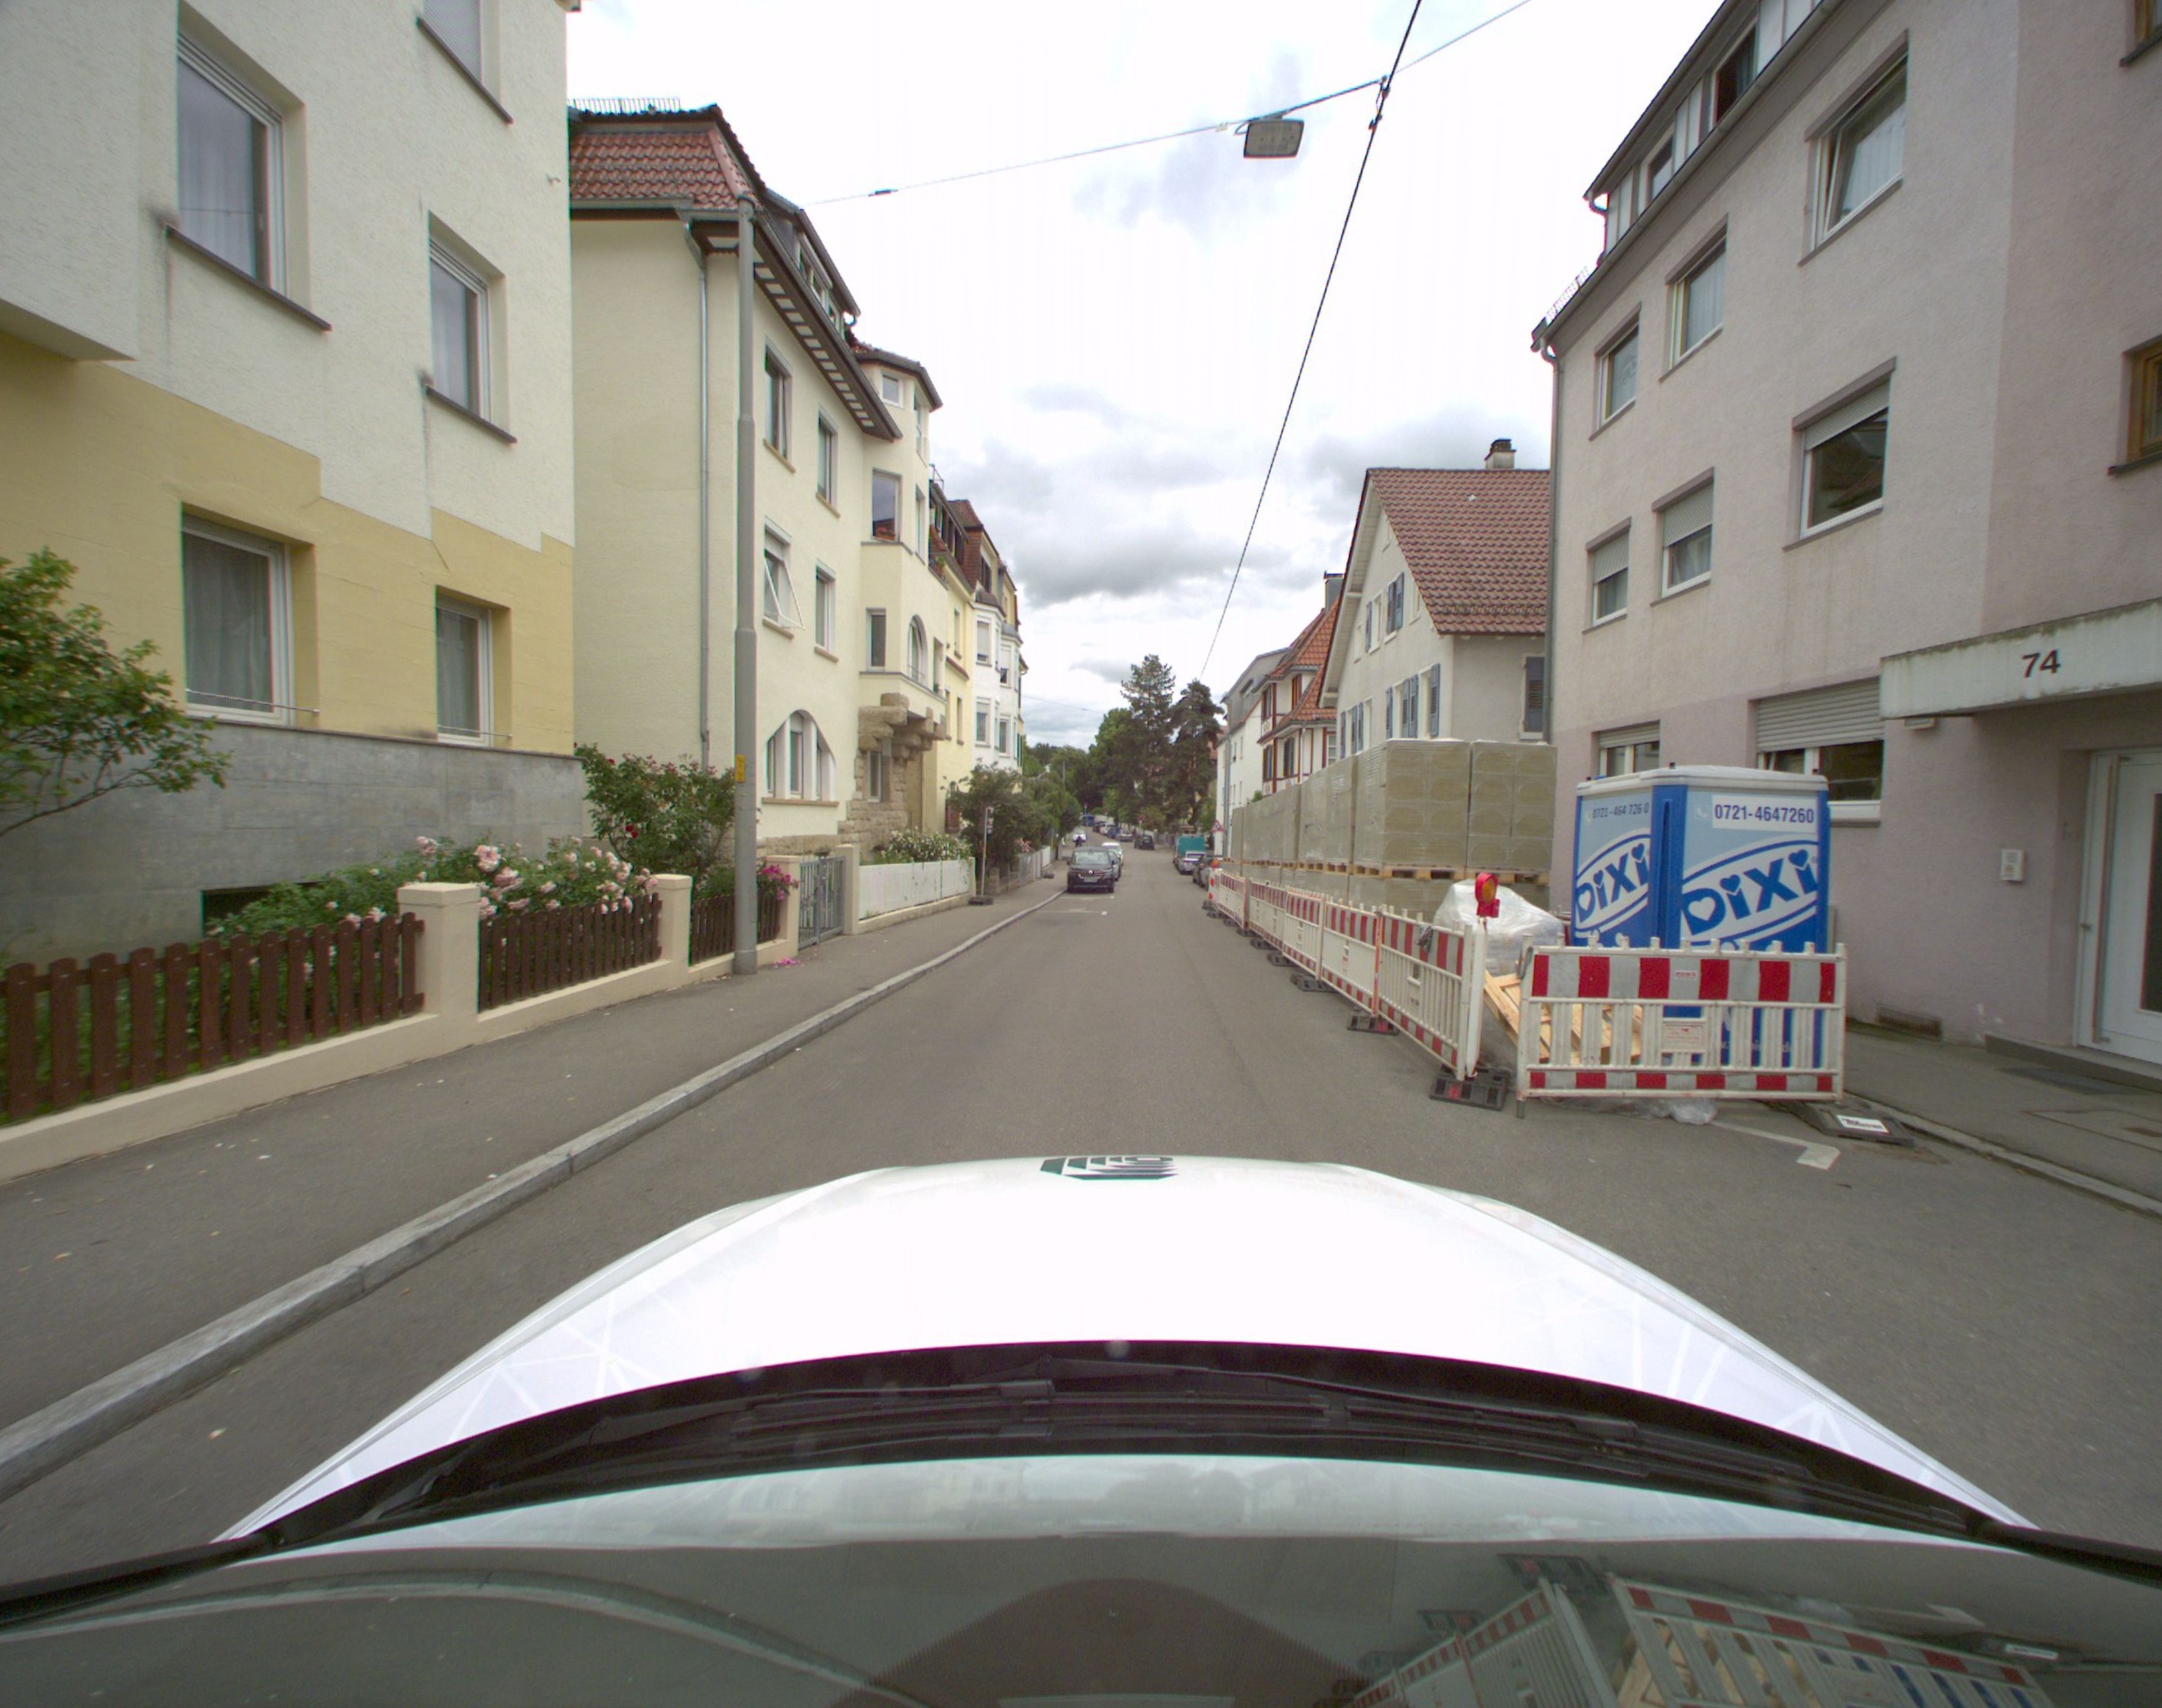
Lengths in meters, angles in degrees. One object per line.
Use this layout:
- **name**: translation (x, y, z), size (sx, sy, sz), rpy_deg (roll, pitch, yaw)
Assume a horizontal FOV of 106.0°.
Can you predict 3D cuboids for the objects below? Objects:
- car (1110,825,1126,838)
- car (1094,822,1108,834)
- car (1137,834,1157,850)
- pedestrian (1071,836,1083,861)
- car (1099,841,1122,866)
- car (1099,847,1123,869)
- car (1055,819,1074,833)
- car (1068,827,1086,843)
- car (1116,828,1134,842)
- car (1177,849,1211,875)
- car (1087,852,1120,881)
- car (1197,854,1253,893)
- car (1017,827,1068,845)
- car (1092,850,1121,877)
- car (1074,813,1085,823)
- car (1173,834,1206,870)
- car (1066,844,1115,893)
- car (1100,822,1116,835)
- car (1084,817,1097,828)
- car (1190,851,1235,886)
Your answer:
- **car**: translation (4.715, -2.900, 104.057), size (1.632, 1.483, 3.525), rpy_deg (2, 4, -5)
- **car**: translation (2.820, -3.711, 116.053), size (1.632, 1.537, 3.525), rpy_deg (2, 4, -5)
- **car**: translation (7.086, -1.315, 87.523), size (1.631, 1.483, 3.527), rpy_deg (2, 4, -4)
- **pedestrian**: translation (-0.329, -0.471, 65.224), size (0.787, 1.932, 0.921), rpy_deg (2, 1, 6)
- **car**: translation (2.275, -0.098, 61.303), size (1.665, 1.656, 3.867), rpy_deg (0, 3, 3)
- **car**: translation (2.115, 0.240, 57.047), size (1.590, 1.412, 3.666), rpy_deg (0, 2, 3)
- **car**: translation (-2.358, -3.998, 115.880), size (1.904, 1.876, 4.580), rpy_deg (-1, 3, -11)
- **car**: translation (-0.488, -2.291, 97.109), size (1.672, 1.656, 3.852), rpy_deg (-1, 3, -9)
- **car**: translation (5.368, -2.354, 99.598), size (1.632, 1.483, 3.525), rpy_deg (2, 4, -5)
- **car**: translation (6.993, 0.486, 50.614), size (1.718, 1.448, 3.884), rpy_deg (1, 2, 3)
- **car**: translation (1.222, 0.624, 42.483), size (1.635, 1.416, 3.987), rpy_deg (0, 1, 3)
- **car**: translation (6.117, 0.783, 35.010), size (1.811, 1.442, 4.454), rpy_deg (2, 1, 3)
- **car**: translation (-3.666, -1.717, 78.034), size (4.840, 1.639, 1.976), rpy_deg (1, 2, -45)
- **car**: translation (1.511, 0.531, 47.492), size (1.590, 1.478, 3.994), rpy_deg (0, 1, 3)
- **car**: translation (-0.302, -6.180, 140.927), size (1.632, 1.537, 3.525), rpy_deg (2, 4, -5)
- **car**: translation (7.573, -0.199, 57.190), size (1.972, 2.362, 4.281), rpy_deg (1, 2, 3)
- **car**: translation (0.389, 0.543, 32.493), size (1.838, 1.815, 4.545), rpy_deg (0, 0, 1)
- **car**: translation (3.618, -3.403, 110.153), size (1.632, 1.537, 3.525), rpy_deg (2, 4, -5)
- **car**: translation (1.492, -5.082, 130.733), size (1.632, 1.537, 3.525), rpy_deg (2, 4, -5)
- **car**: translation (6.322, 0.651, 39.366), size (1.683, 1.519, 3.883), rpy_deg (2, 1, 3)
